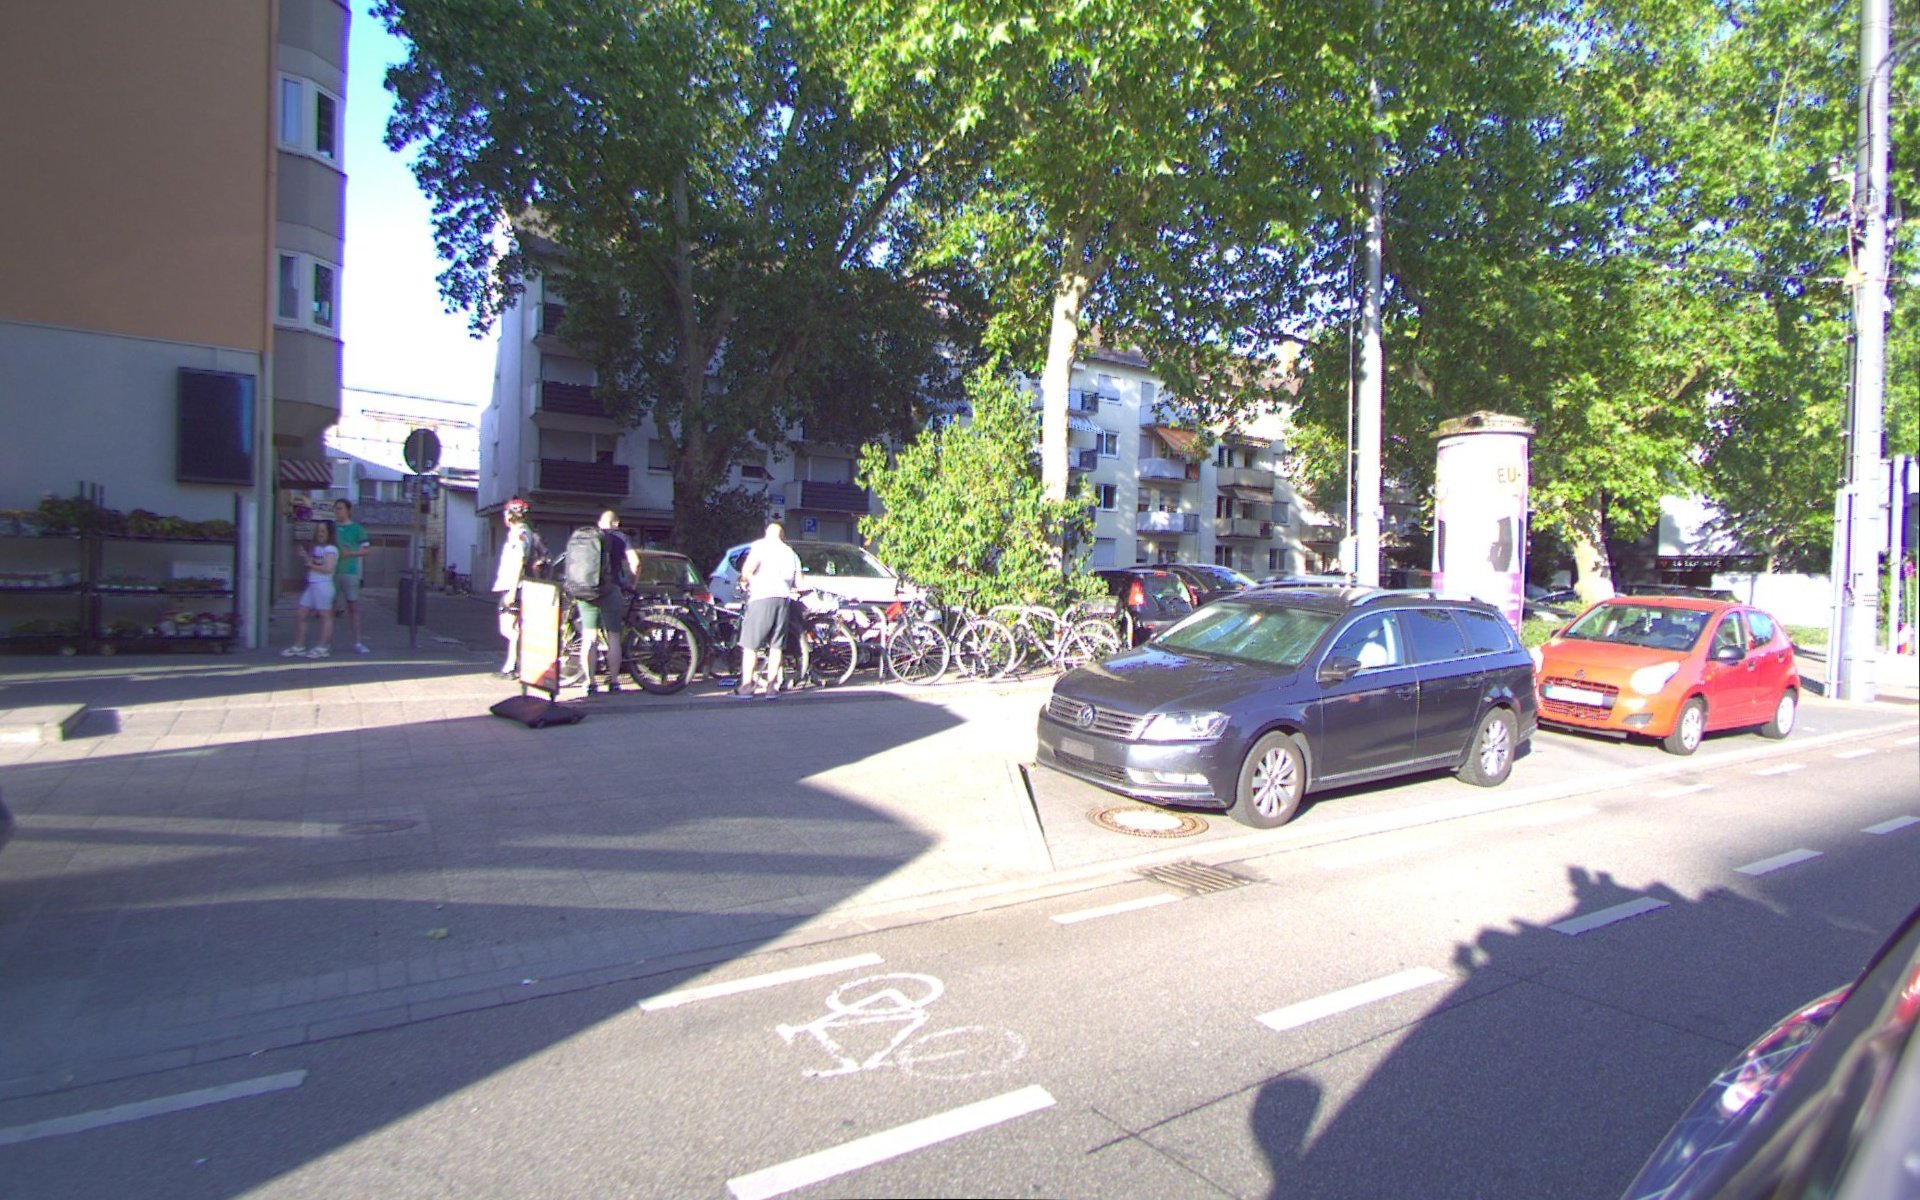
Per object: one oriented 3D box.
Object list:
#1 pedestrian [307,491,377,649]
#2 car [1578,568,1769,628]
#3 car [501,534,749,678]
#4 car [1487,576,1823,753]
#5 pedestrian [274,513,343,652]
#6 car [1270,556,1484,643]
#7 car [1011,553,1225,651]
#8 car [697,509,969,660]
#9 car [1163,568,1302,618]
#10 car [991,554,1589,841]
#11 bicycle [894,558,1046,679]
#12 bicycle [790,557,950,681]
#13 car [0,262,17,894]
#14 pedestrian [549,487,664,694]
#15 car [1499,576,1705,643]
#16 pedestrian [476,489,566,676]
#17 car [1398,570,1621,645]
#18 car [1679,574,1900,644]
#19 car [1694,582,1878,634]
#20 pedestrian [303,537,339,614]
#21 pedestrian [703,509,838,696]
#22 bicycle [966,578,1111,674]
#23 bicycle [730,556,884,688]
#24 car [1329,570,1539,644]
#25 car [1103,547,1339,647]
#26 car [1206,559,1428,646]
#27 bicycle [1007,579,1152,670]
[{"bbox_3d":[-7.647,-0.380,12.530,0.567,1.905,0.471,2,1,17],"label":"pedestrian"},{"bbox_3d":[20.381,-0.040,29.069,1.767,1.570,4.128,1,-1,-31],"label":"car"},{"bbox_3d":[-4.313,-0.049,12.625,1.962,1.449,4.030,-3,4,-33],"label":"car"},{"bbox_3d":[7.394,0.570,10.706,3.555,1.512,1.577,0,4,-32],"label":"car"},{"bbox_3d":[-7.639,-0.215,11.864,0.633,1.587,0.417,2,1,28],"label":"pedestrian"},{"bbox_3d":[8.637,-0.005,21.262,1.819,1.652,3.856,1,0,-31],"label":"car"},{"bbox_3d":[2.613,0.069,17.418,1.739,1.502,3.509,1,-1,-33],"label":"car"},{"bbox_3d":[-1.956,-0.137,14.058,1.961,1.731,4.634,0,-1,-33],"label":"car"},{"bbox_3d":[9.147,-0.276,34.242,1.962,1.553,4.297,0,2,-34],"label":"car"},{"bbox_3d":[2.626,0.525,7.631,4.561,1.549,1.704,0,4,-32],"label":"car"},{"bbox_3d":[0.120,0.180,11.158,1.558,1.242,0.645,2,1,12],"label":"bicycle"},{"bbox_3d":[-0.951,0.189,10.667,1.563,1.242,0.647,0,0,20],"label":"bicycle"},{"bbox_3d":[-5.895,-0.011,1.935,5.671,2.581,2.026,0,5,-32],"label":"car"},{"bbox_3d":[-3.220,-0.101,9.179,0.753,1.772,0.810,2,4,-32],"label":"pedestrian"},{"bbox_3d":[16.545,0.196,26.286,1.767,1.513,4.130,1,2,-31],"label":"car"},{"bbox_3d":[-4.396,-0.182,10.122,0.639,1.803,0.529,1,4,-40],"label":"pedestrian"},{"bbox_3d":[12.410,0.109,23.123,1.767,1.513,4.130,1,2,-31],"label":"car"},{"bbox_3d":[21.770,0.182,26.727,1.767,1.618,4.130,1,2,-31],"label":"car"},{"bbox_3d":[27.043,0.208,33.262,1.962,1.514,4.296,0,2,-35],"label":"car"},{"bbox_3d":[-13.194,-0.510,20.891,0.585,1.560,0.745,1,2,-35],"label":"pedestrian"},{"bbox_3d":[-1.790,0.008,9.551,0.972,1.656,0.661,1,4,-40],"label":"pedestrian"},{"bbox_3d":[0.920,0.280,11.840,1.563,1.026,0.647,2,1,20],"label":"bicycle"},{"bbox_3d":[-1.543,0.196,10.178,1.501,1.242,0.401,2,1,18],"label":"bicycle"},{"bbox_3d":[10.274,0.157,22.213,1.766,1.455,3.856,2,-1,-31],"label":"car"},{"bbox_3d":[4.664,-0.016,18.624,1.820,1.621,4.035,1,-1,-33],"label":"car"},{"bbox_3d":[6.887,0.081,19.916,1.819,1.514,3.855,0,-1,-31],"label":"car"},{"bbox_3d":[1.466,0.273,12.438,1.659,1.026,0.647,2,1,20],"label":"bicycle"}]
